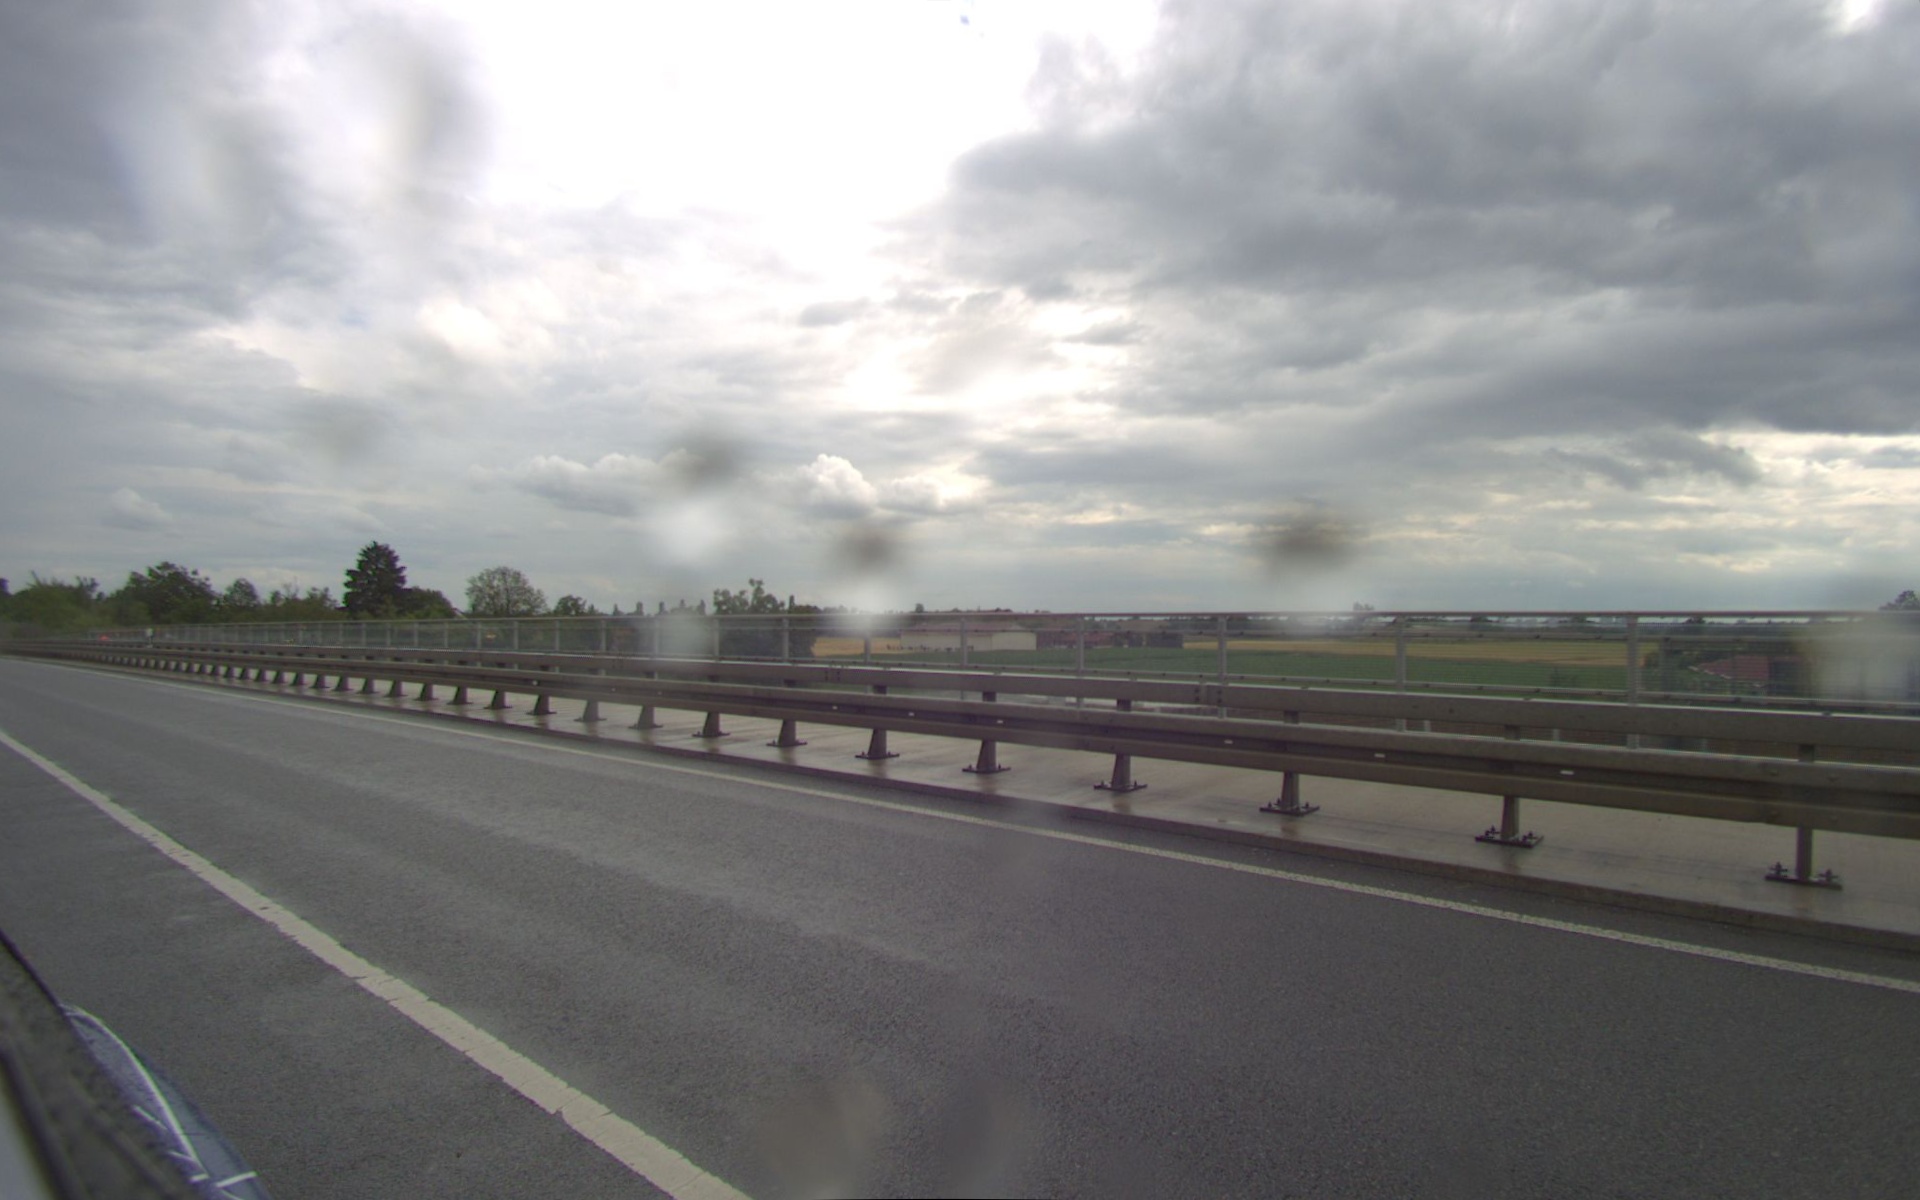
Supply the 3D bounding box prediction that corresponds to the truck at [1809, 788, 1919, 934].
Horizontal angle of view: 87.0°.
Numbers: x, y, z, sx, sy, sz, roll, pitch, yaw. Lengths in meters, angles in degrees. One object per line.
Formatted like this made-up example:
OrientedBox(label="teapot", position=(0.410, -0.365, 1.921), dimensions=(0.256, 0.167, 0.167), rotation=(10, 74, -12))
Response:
OrientedBox(label="truck", position=(34.280, 8.371, 33.183), dimensions=(11.006, 4.031, 2.438), rotation=(-1, 0, -2))
